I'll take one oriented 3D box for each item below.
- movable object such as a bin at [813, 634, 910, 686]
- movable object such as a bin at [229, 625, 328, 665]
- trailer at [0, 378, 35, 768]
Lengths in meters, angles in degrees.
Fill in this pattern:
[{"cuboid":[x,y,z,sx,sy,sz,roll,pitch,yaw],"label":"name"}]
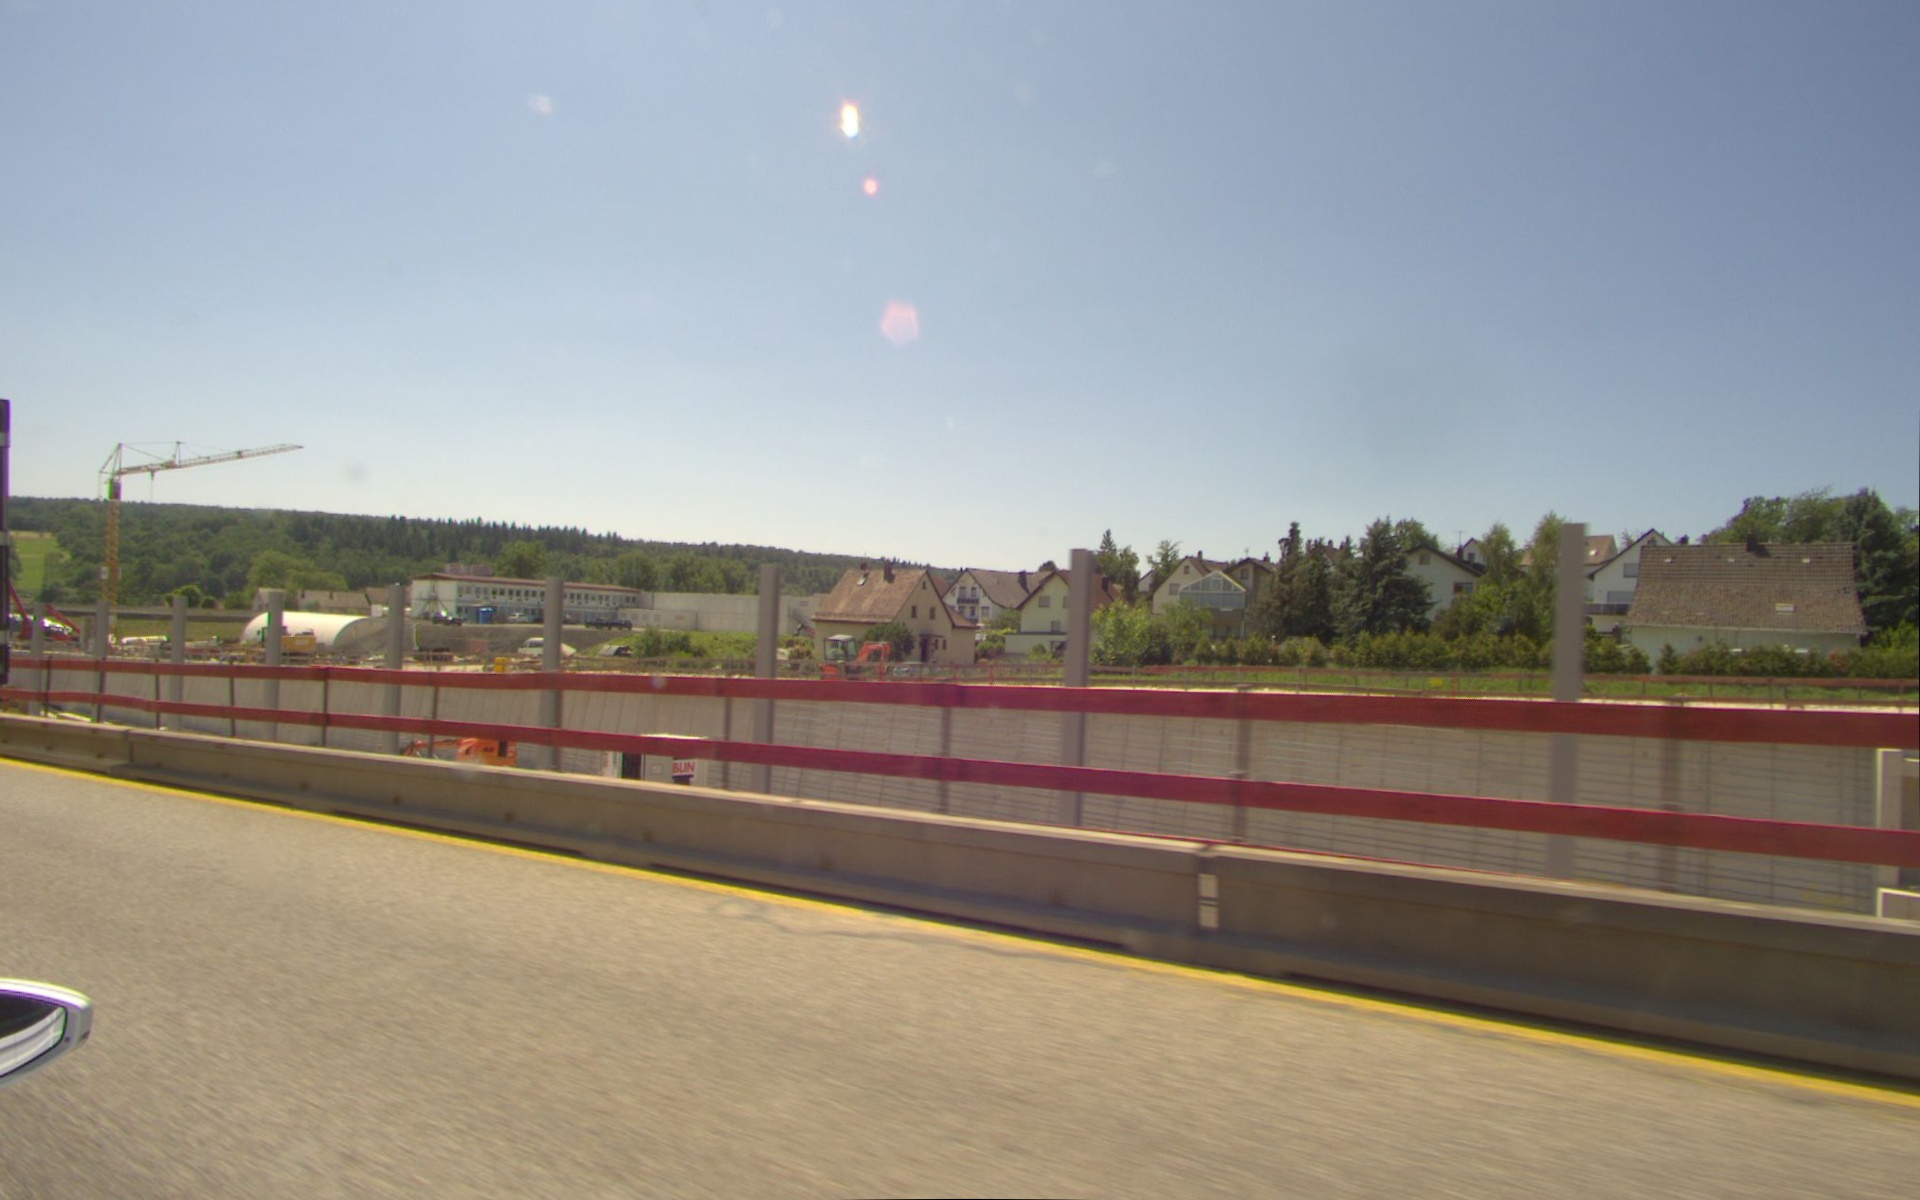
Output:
[{"cuboid":[-4.545,2.709,45.934,4.093,2.267,1.990,-1,-2,33],"label":"movable object such as a bin"},{"cuboid":[-52.842,3.425,77.544,9.345,2.946,2.882,-1,-2,33],"label":"movable object such as a bin"},{"cuboid":[-16.597,-0.154,13.272,13.914,4.110,2.797,-2,-2,32],"label":"trailer"}]
